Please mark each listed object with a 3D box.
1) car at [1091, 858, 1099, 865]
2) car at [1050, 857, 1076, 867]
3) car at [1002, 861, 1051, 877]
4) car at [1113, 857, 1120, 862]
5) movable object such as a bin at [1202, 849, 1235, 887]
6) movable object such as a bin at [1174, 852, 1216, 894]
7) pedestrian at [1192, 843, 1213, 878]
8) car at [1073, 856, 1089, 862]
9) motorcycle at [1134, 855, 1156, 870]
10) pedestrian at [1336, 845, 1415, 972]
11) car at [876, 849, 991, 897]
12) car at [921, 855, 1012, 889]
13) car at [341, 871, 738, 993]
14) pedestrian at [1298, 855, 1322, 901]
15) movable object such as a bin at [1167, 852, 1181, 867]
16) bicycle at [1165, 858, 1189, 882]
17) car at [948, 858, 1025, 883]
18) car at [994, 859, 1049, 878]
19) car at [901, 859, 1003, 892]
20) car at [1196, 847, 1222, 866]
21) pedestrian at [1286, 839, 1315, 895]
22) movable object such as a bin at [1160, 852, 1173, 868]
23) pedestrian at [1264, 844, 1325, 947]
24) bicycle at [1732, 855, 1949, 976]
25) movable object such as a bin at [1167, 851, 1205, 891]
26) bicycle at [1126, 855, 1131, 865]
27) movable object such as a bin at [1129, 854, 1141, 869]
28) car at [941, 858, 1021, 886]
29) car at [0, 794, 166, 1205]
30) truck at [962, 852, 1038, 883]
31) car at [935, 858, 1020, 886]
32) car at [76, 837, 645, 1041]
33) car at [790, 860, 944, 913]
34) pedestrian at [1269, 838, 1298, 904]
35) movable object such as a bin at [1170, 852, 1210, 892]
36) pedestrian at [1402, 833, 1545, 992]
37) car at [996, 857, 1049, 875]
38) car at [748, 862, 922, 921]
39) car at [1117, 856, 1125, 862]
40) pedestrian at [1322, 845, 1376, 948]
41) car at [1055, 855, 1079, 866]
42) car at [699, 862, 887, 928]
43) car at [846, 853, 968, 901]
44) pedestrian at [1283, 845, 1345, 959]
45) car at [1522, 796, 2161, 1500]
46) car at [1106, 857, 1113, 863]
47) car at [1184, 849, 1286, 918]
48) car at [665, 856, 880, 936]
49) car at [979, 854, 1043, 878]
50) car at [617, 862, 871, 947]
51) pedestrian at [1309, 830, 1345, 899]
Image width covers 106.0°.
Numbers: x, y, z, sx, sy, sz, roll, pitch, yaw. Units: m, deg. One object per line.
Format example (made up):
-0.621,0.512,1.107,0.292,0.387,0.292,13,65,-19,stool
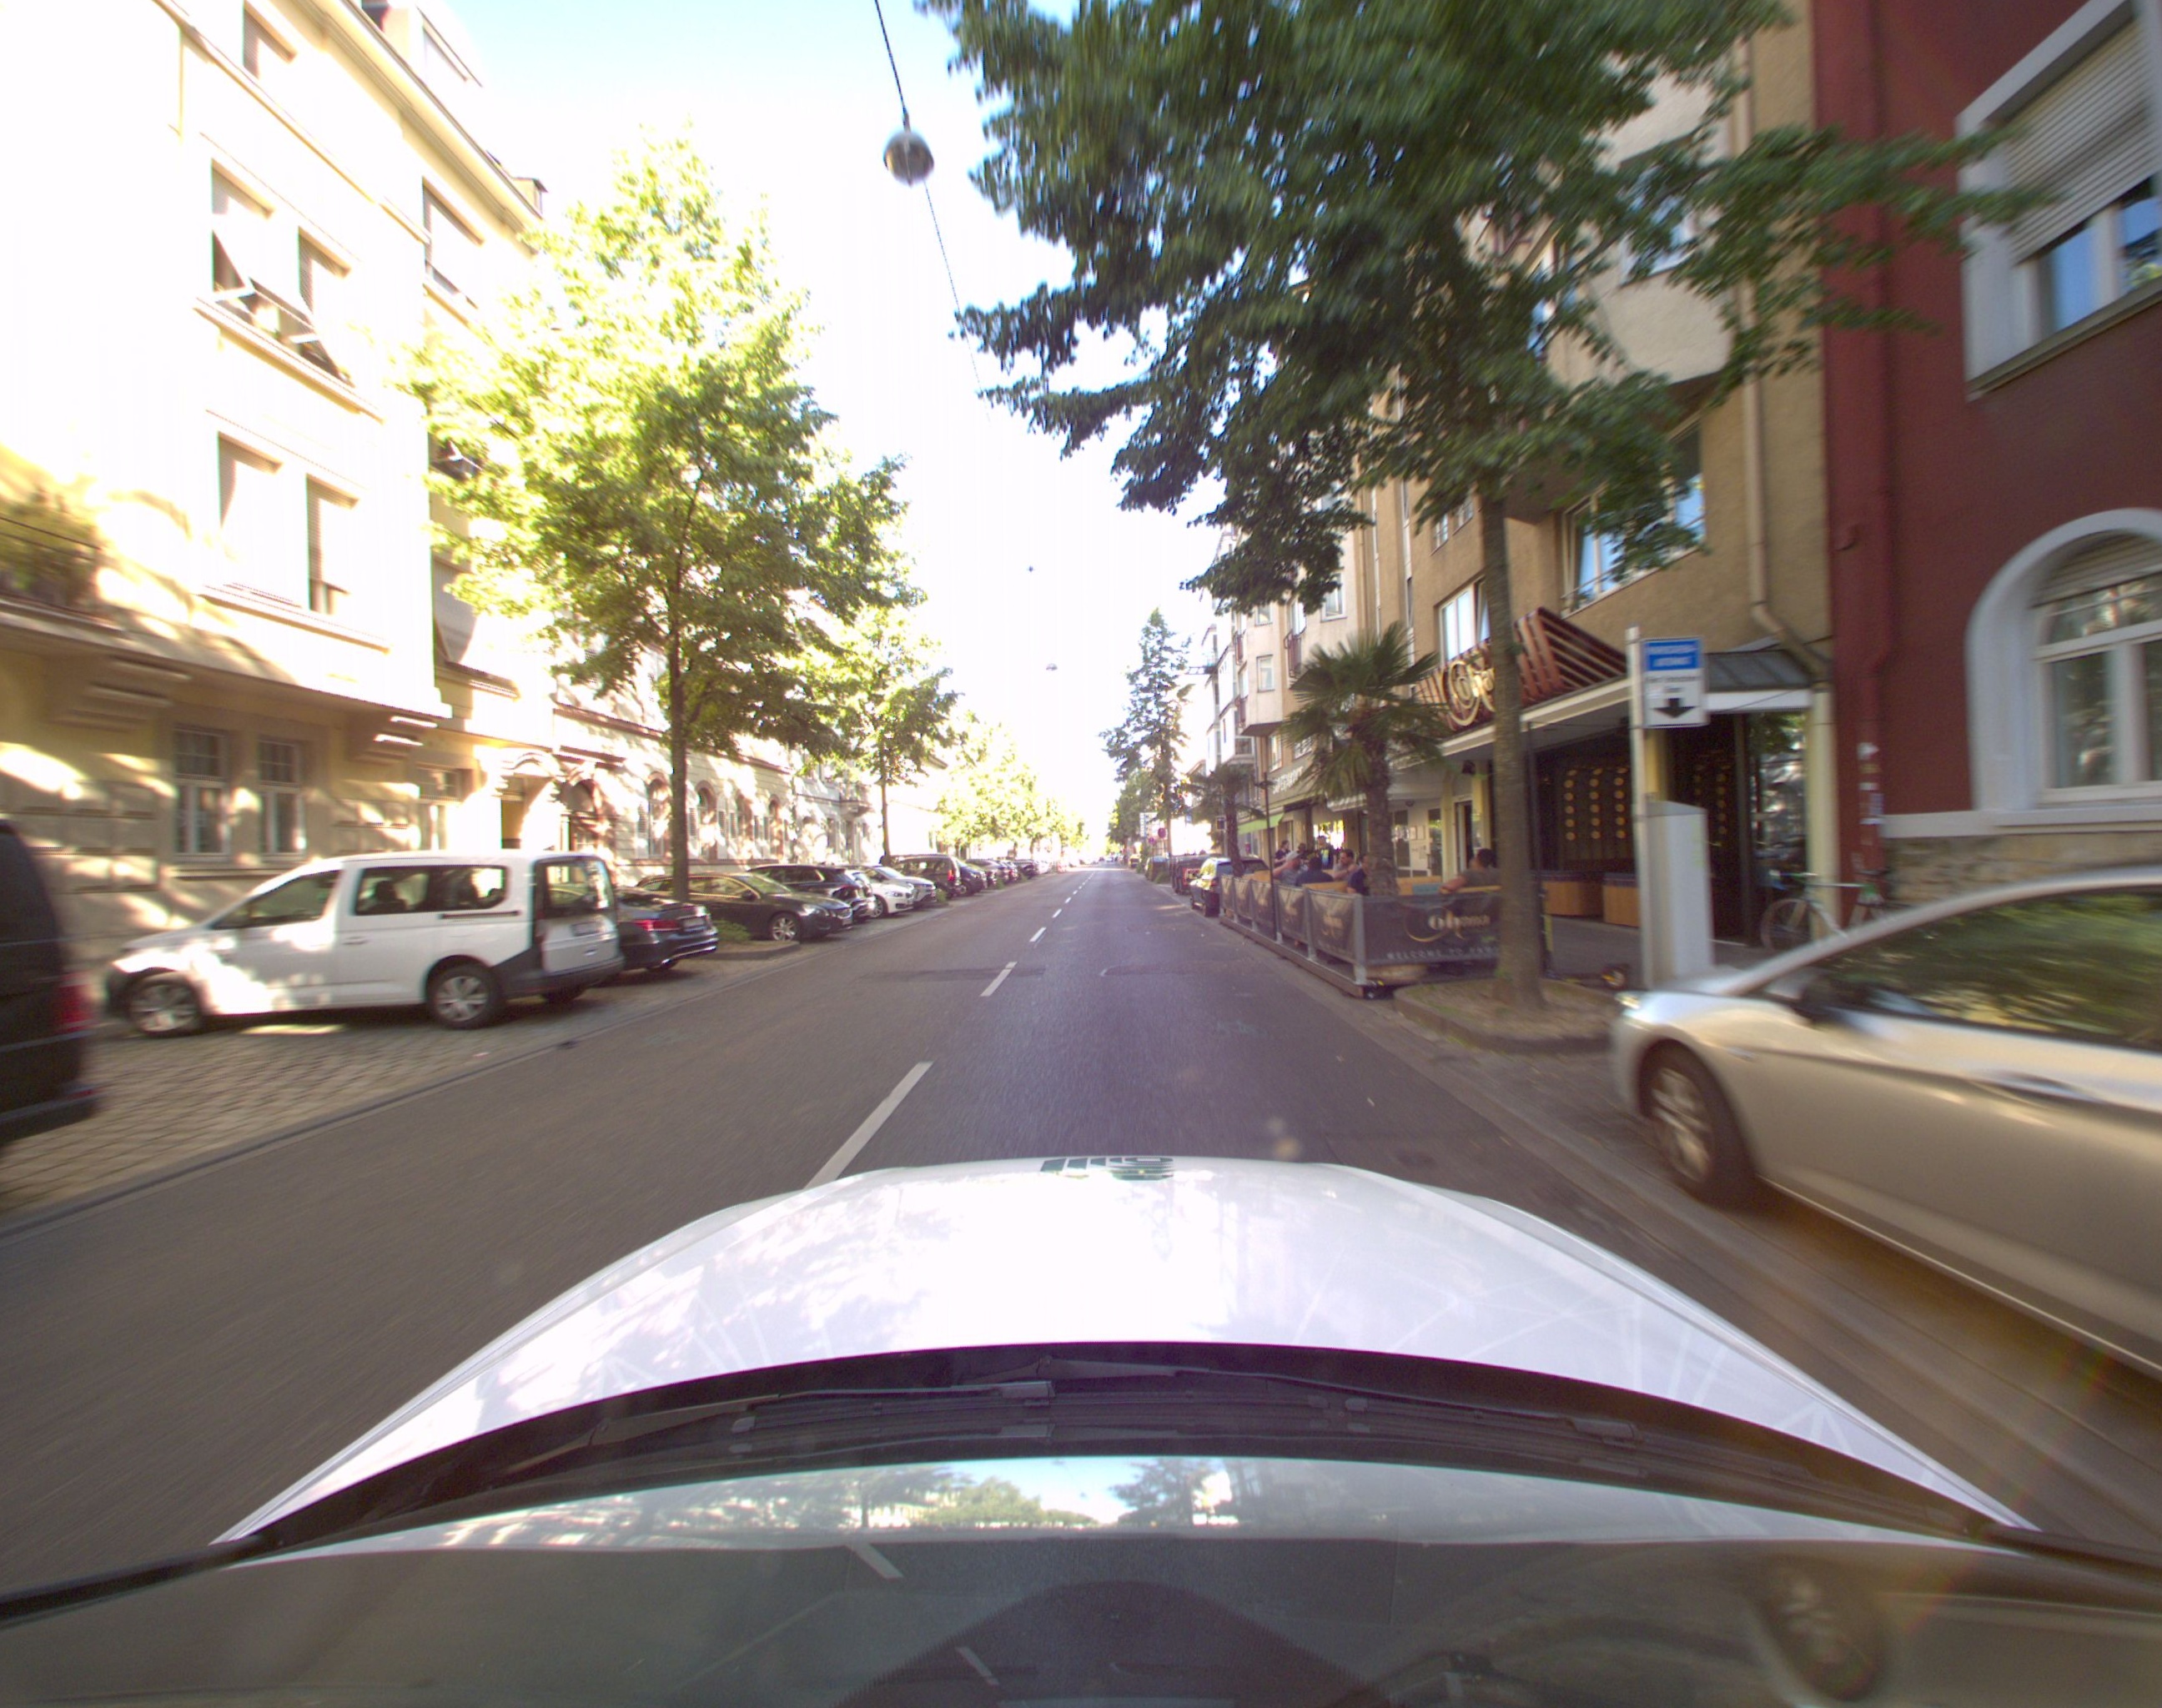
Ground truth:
3.092,1.687,181.392,1.796,1.435,4.410,-5,0,1,car
-2.903,1.220,128.922,3.973,1.390,2.000,-2,0,0,car
-5.252,1.453,79.367,4.667,1.412,1.807,-2,-1,-2,car
9.794,1.528,223.493,1.816,1.391,4.301,-5,0,1,car
5.466,0.562,32.443,1.073,1.431,1.296,-3,0,2,movable object such as a bin
4.205,0.701,30.138,1.393,1.454,1.146,-3,0,2,movable object such as a bin
6.808,0.360,45.665,0.916,1.935,0.765,-3,0,27,pedestrian
0.034,1.306,209.562,3.973,1.500,2.000,-2,0,0,car
6.306,0.845,80.317,1.978,1.330,0.908,-2,0,-11,motorcycle
3.743,0.674,10.408,0.690,1.536,0.777,-3,-1,3,pedestrian
-6.503,0.819,36.338,4.661,1.950,1.918,-2,-1,3,car
-6.262,0.992,45.002,4.661,1.712,1.809,-2,-1,3,car
-7.491,1.037,11.627,4.326,1.439,1.916,-2,0,-1,car
5.991,0.632,21.320,0.438,1.163,0.504,-3,-1,33,pedestrian
9.863,0.580,86.644,1.266,1.530,1.176,-3,0,0,movable object such as a bin
5.001,0.824,42.662,0.607,1.120,2.050,-9,1,-7,bicycle
-6.131,1.041,53.071,4.661,1.463,1.809,-2,-1,3,car
-5.156,1.269,71.322,4.667,1.465,1.807,-2,-1,-2,car
-6.224,1.014,39.661,4.628,1.459,1.684,-2,-1,1,car
11.867,0.198,75.731,1.893,1.648,4.297,-3,0,3,car
6.653,0.392,24.688,0.614,1.642,0.762,-3,-1,2,pedestrian
9.206,0.607,88.027,1.201,1.627,1.498,-3,0,0,movable object such as a bin
3.349,0.631,12.835,0.648,1.536,0.980,-3,-1,0,pedestrian
7.134,0.528,7.774,0.472,1.001,1.701,-3,0,2,bicycle
4.166,0.665,32.468,1.325,1.542,1.146,-3,0,2,movable object such as a bin
7.427,0.918,126.822,0.558,1.441,1.629,-8,0,2,bicycle
6.042,0.814,90.666,1.135,1.562,1.463,-3,0,10,movable object such as a bin
-6.193,1.086,50.625,4.661,1.572,1.809,-2,-1,3,car
-7.368,0.740,3.563,4.557,1.927,1.930,-2,-1,1,car
-5.737,0.961,58.125,5.067,1.938,2.000,-3,0,1,truck
-6.036,1.053,47.814,4.661,1.519,1.809,-2,-1,3,car
-7.493,0.818,8.906,4.331,1.834,1.914,-2,-1,-4,car
-6.942,1.041,26.680,4.445,1.541,1.919,-2,-1,5,car
5.383,0.452,21.612,0.612,1.695,0.765,-3,-1,17,pedestrian
4.175,0.695,31.303,1.393,1.454,1.146,-3,0,2,movable object such as a bin
4.080,0.589,8.556,1.051,1.536,0.893,-3,-1,6,pedestrian
-5.294,1.065,74.192,4.667,1.465,1.807,-2,-1,-2,car
-7.129,1.066,23.906,4.450,1.541,1.917,-2,-1,1,car
11.108,1.413,227.843,1.986,1.508,4.001,-2,-1,1,car
4.195,0.650,12.789,0.706,1.536,0.773,-3,-1,16,pedestrian
-2.426,1.180,141.832,3.966,1.694,2.004,-2,0,6,car
-7.595,1.061,21.767,4.323,1.582,1.809,-2,-1,1,car
-7.061,0.914,33.355,4.447,1.772,1.918,-2,-1,3,car
3.302,0.656,11.537,0.743,1.536,0.811,-3,-1,16,pedestrian
3.372,0.639,2.154,1.815,1.596,4.844,-5,0,2,car
7.661,1.636,220.669,1.786,1.411,4.002,-2,0,2,car
3.923,0.697,21.579,1.815,1.472,4.914,-5,0,2,car
-7.253,0.961,19.463,4.323,1.709,1.917,-2,-1,1,car
-5.436,0.924,63.513,4.661,1.693,1.809,-2,-1,3,car
-6.889,1.015,16.966,4.447,1.541,1.918,-2,-1,3,car
6.269,0.267,20.727,0.506,1.695,0.623,-2,-1,-35,pedestrian
